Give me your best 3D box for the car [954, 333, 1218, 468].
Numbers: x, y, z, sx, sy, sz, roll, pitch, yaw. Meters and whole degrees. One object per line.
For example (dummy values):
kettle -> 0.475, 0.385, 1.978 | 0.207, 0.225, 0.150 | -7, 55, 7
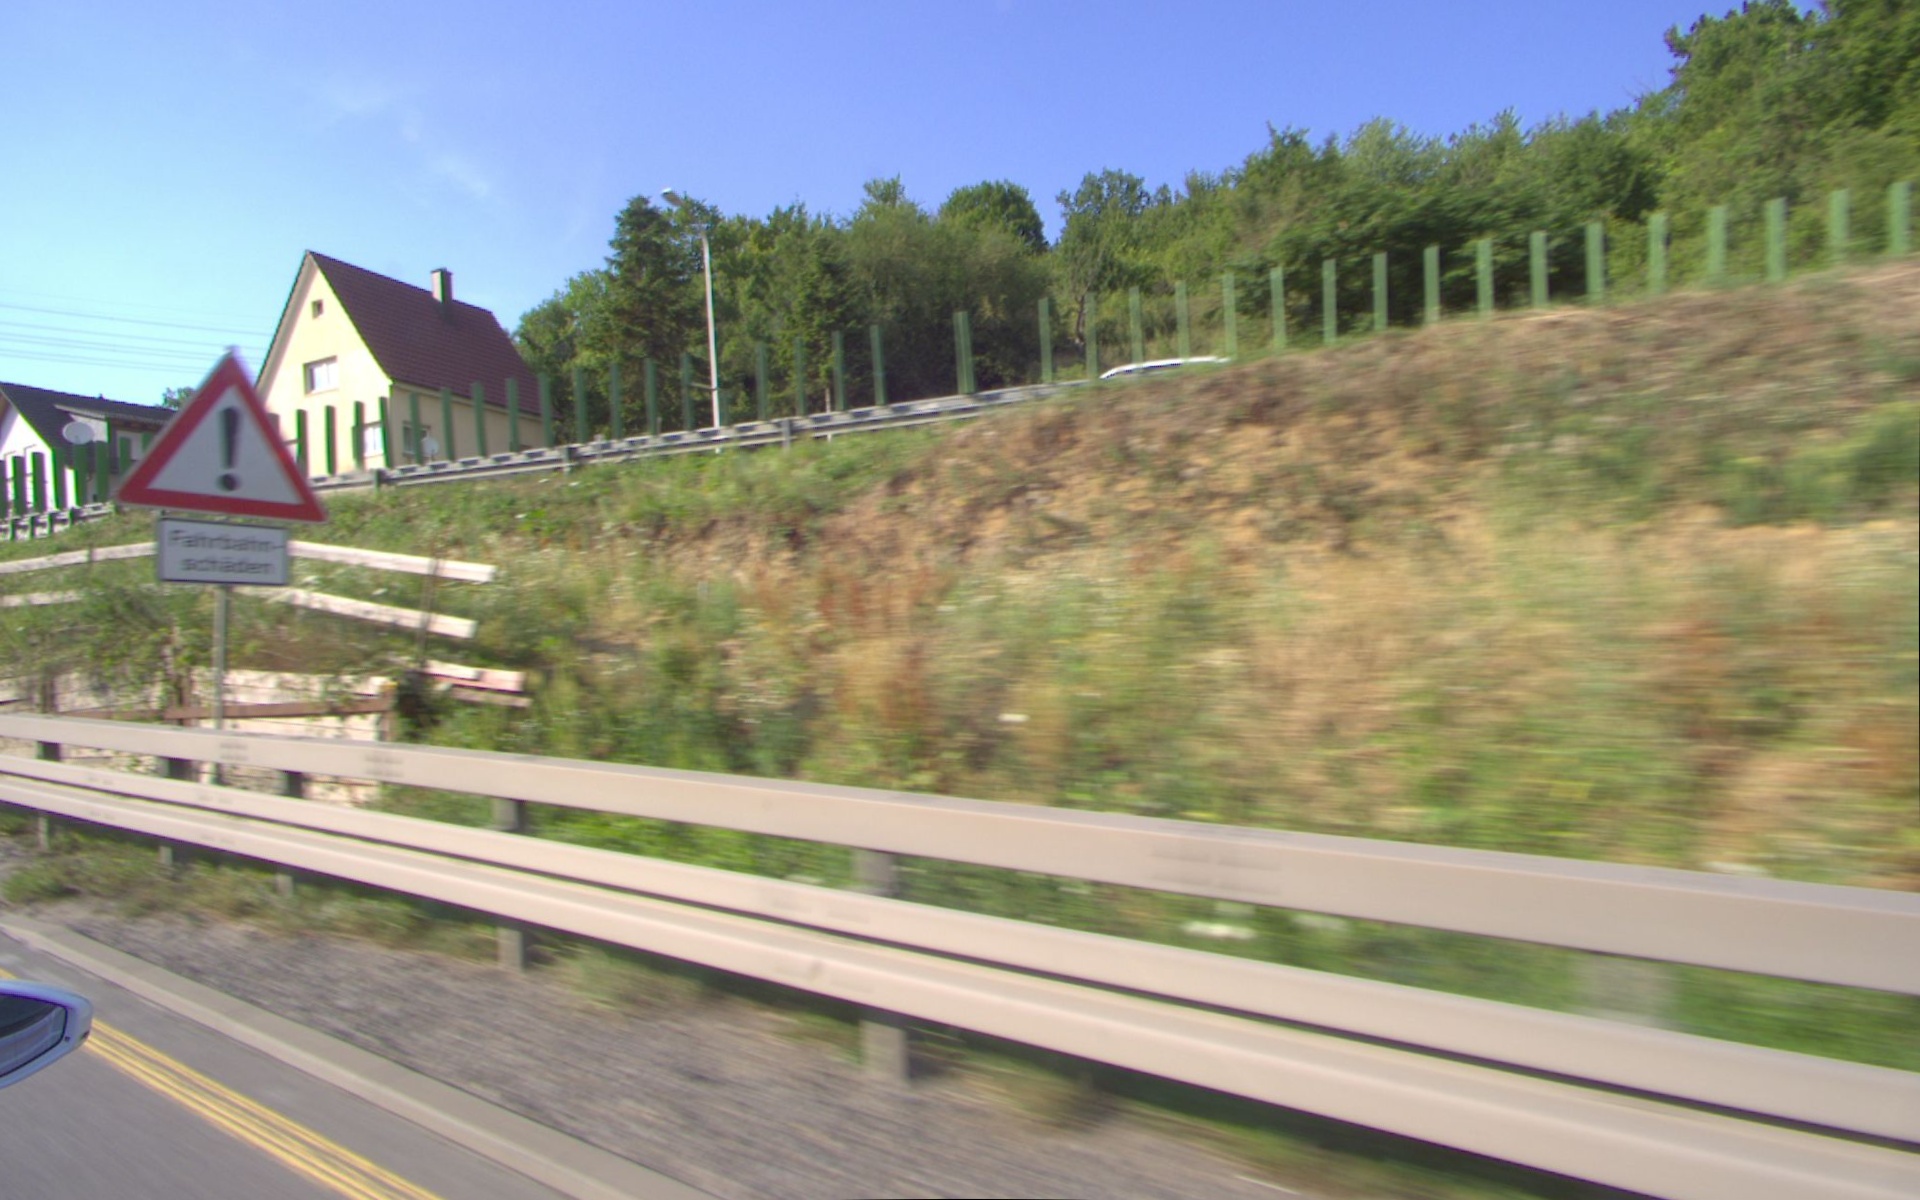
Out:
car -> 2.334, -3.559, 18.347 | 4.564, 1.679, 1.701 | -3, -1, 15
